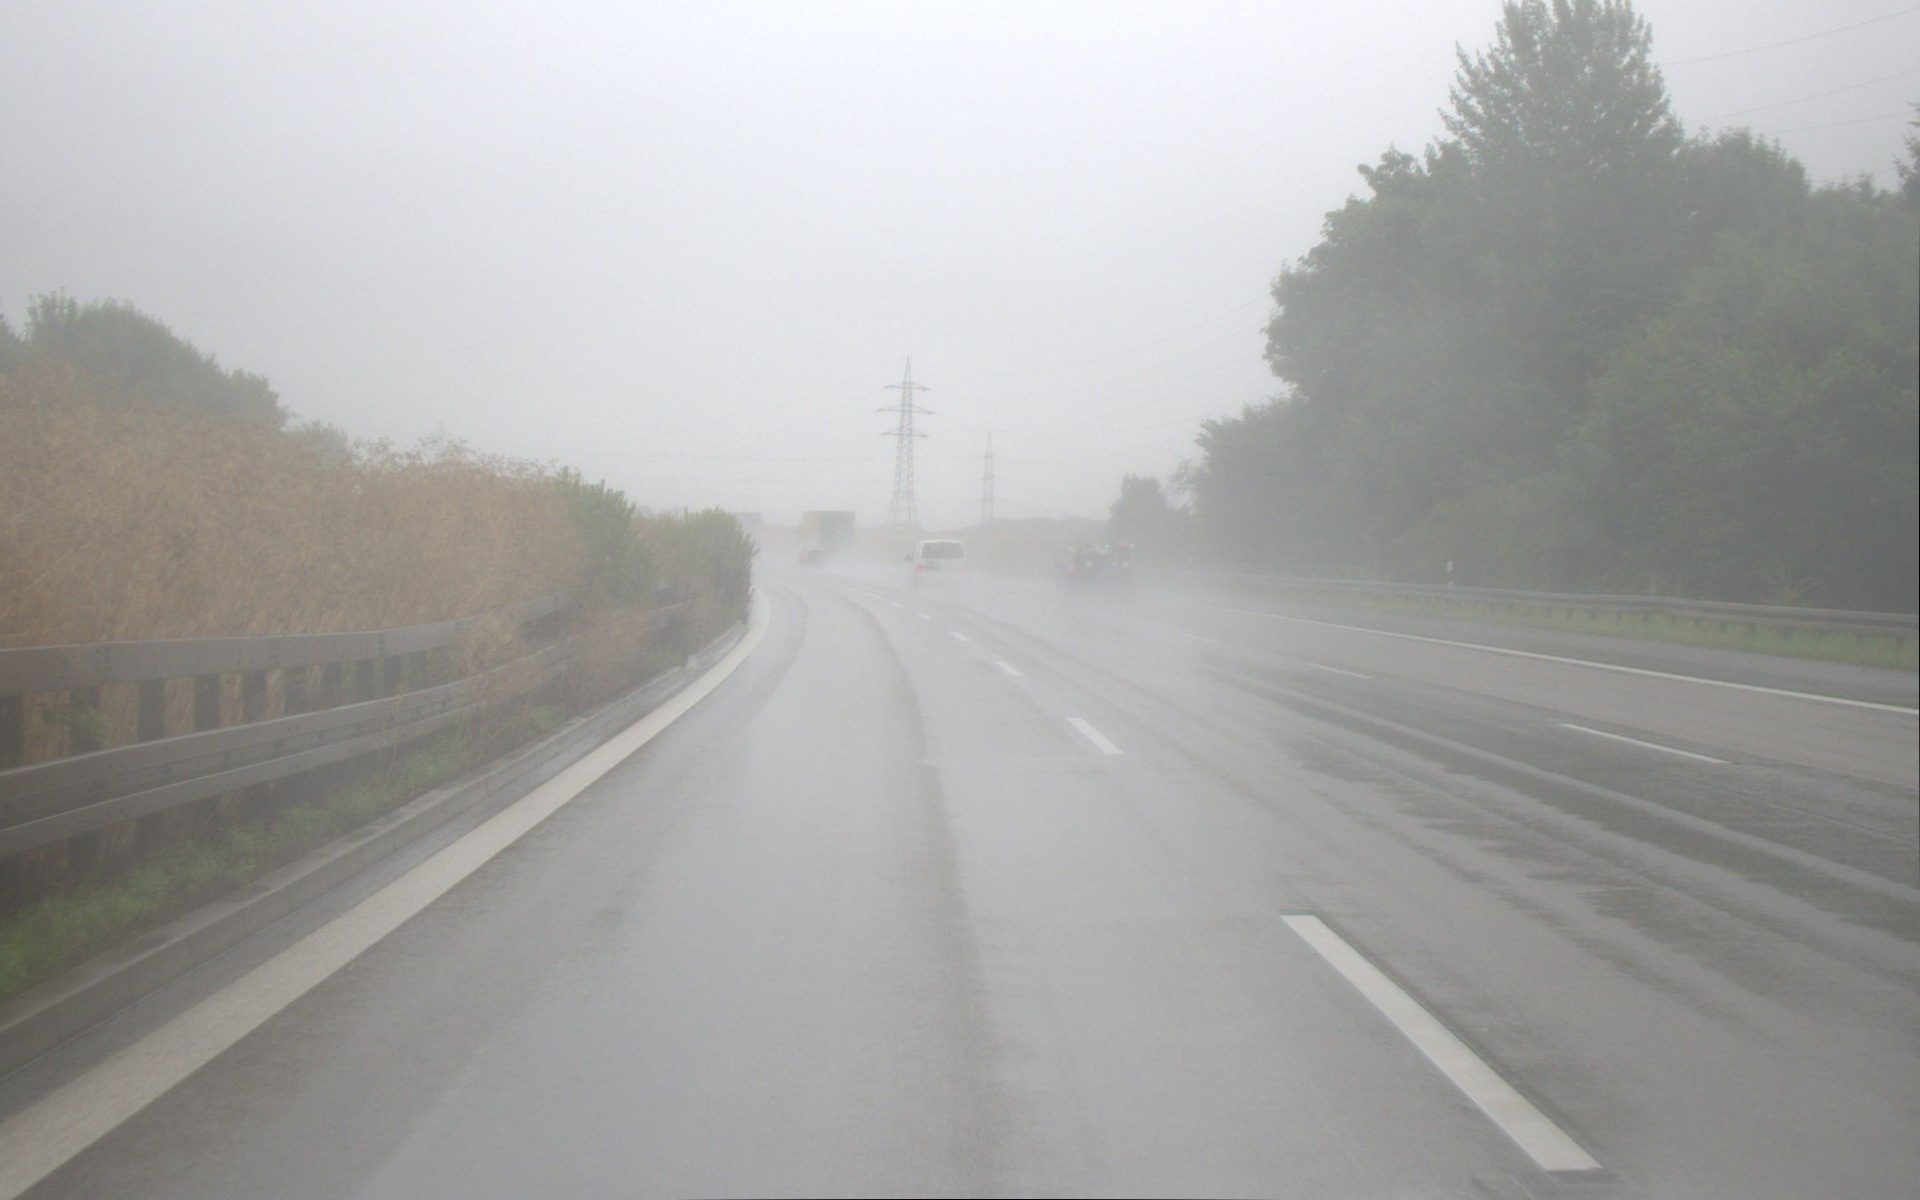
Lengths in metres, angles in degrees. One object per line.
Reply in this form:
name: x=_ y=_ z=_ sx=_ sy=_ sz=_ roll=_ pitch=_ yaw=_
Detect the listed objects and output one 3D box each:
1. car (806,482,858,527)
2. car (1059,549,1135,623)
car: x=-9.332 y=-6.952 z=250.239 sx=3.199 sy=3.182 sz=7.258 roll=1 pitch=1 yaw=-7
car: x=4.095 y=-0.435 z=103.331 sx=1.807 sy=2.151 sz=4.001 roll=1 pitch=1 yaw=-4
